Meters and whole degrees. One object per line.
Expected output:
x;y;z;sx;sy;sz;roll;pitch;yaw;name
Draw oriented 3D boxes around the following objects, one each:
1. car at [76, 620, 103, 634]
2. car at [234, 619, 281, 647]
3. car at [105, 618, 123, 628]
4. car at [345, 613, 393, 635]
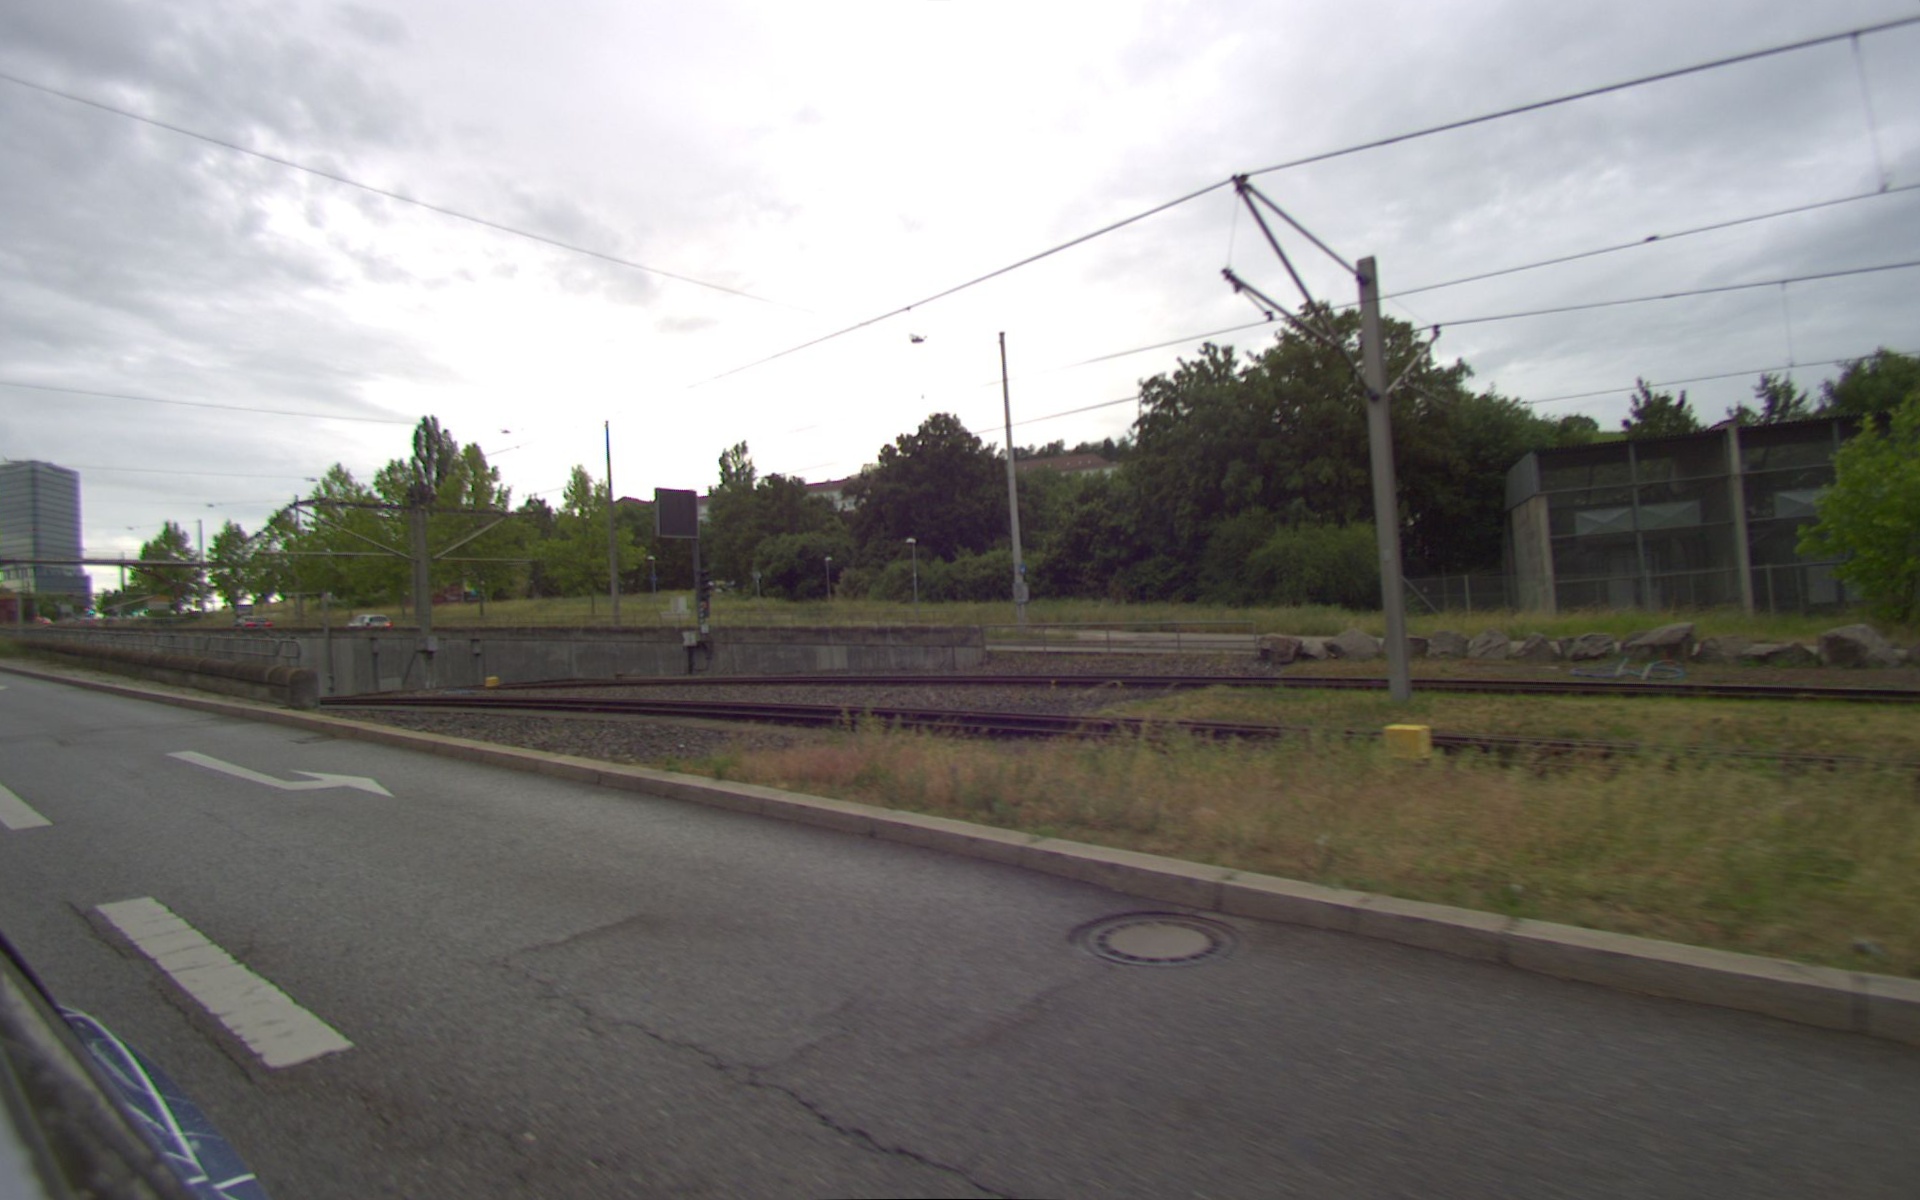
-108.676;3.370;126.277;4.355;1.656;1.872;-1;2;41;car
-55.858;2.614;80.408;4.029;1.985;1.873;-2;2;38;car
-152.214;4.176;181.994;3.785;1.585;1.641;-2;2;38;car
-37.224;1.529;63.714;3.557;1.301;1.539;-2;-1;41;car
